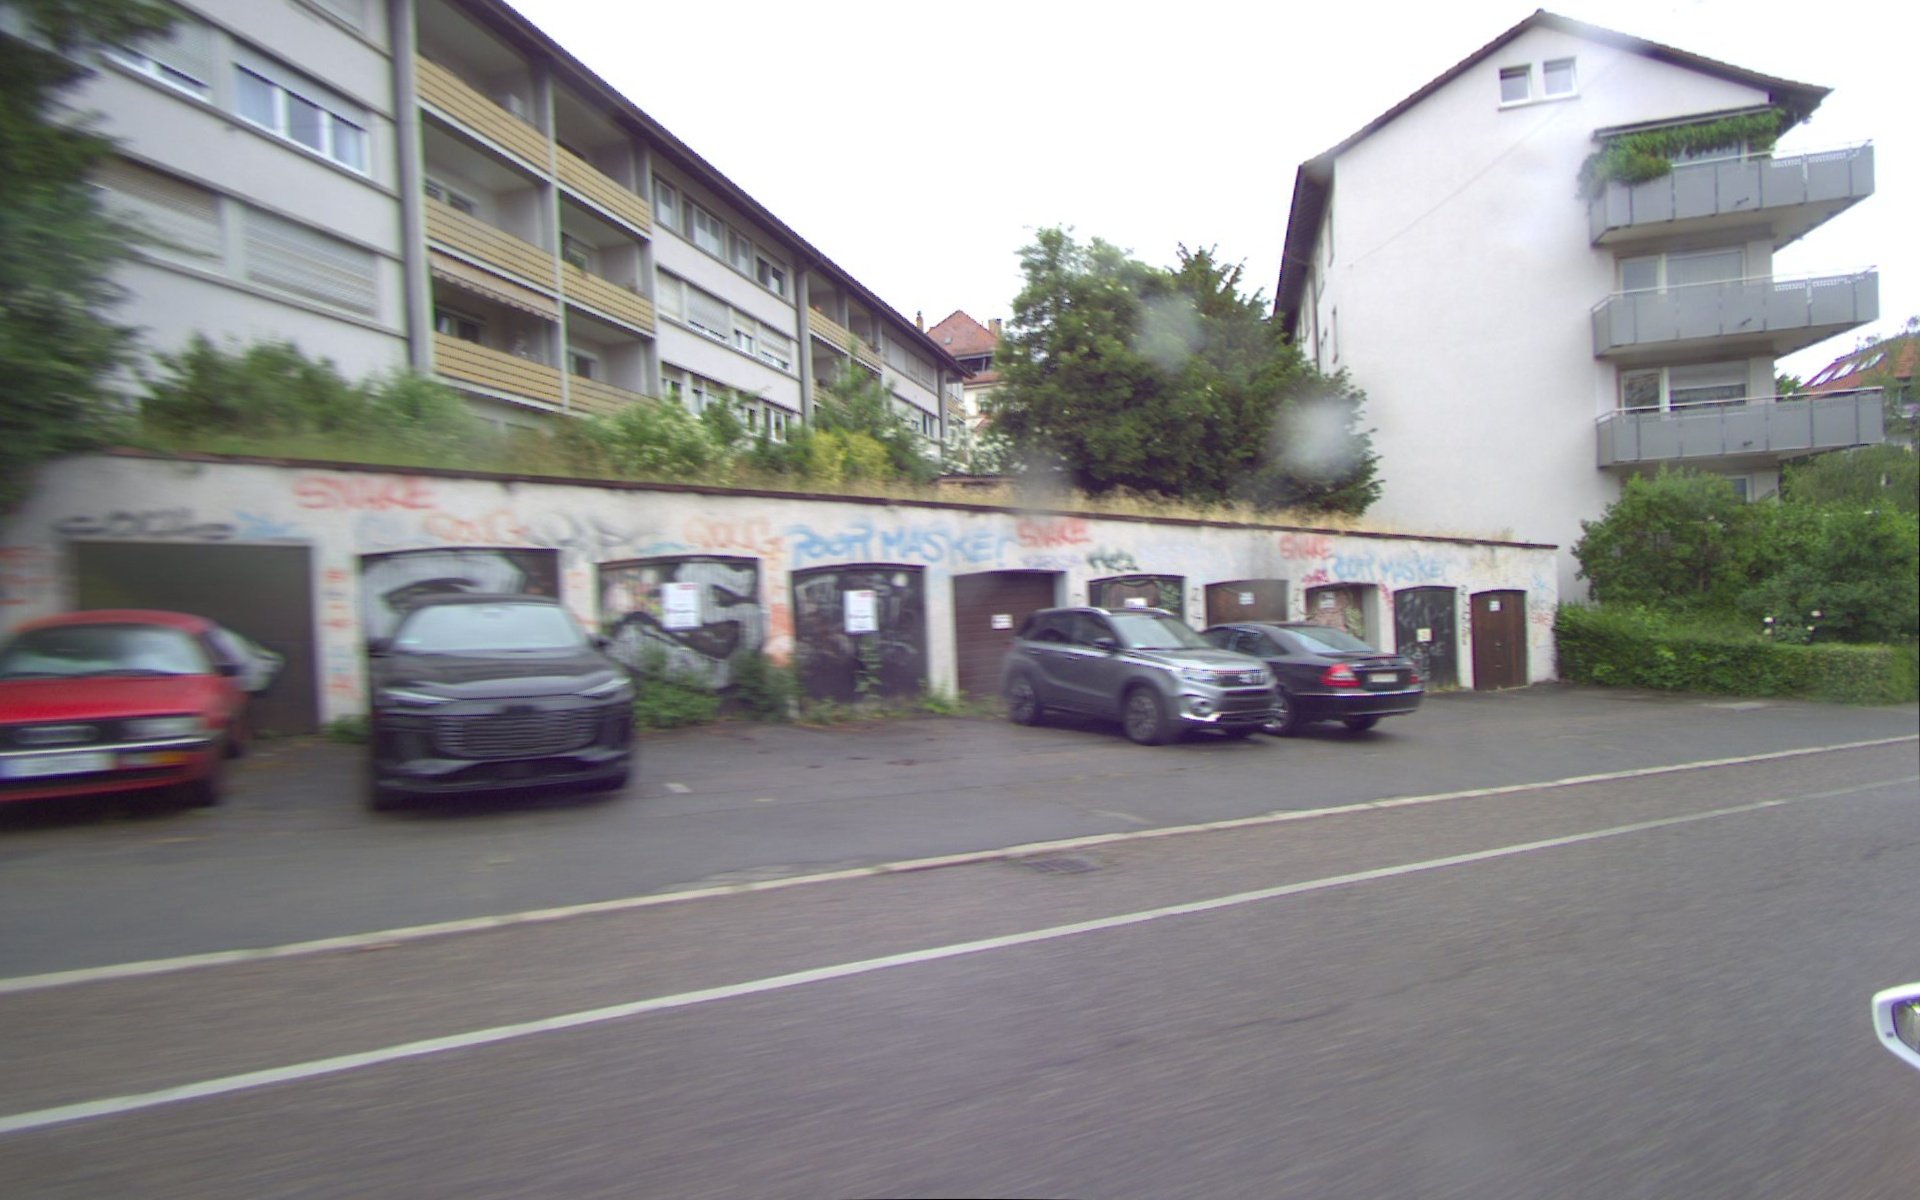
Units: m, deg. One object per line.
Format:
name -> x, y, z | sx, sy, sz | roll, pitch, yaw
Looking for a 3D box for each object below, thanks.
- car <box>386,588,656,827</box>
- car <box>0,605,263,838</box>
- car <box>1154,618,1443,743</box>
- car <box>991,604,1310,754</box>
car -> -4.219, 0.729, 9.204 | 1.793, 1.624, 4.428 | 0, 0, -30
car -> -6.666, 0.768, 7.961 | 1.698, 1.424, 3.611 | 0, 0, -32
car -> 4.547, 1.005, 14.005 | 1.761, 1.426, 3.617 | 1, 0, -28
car -> 2.269, 0.881, 12.970 | 1.859, 1.580, 3.965 | 2, -1, -32
